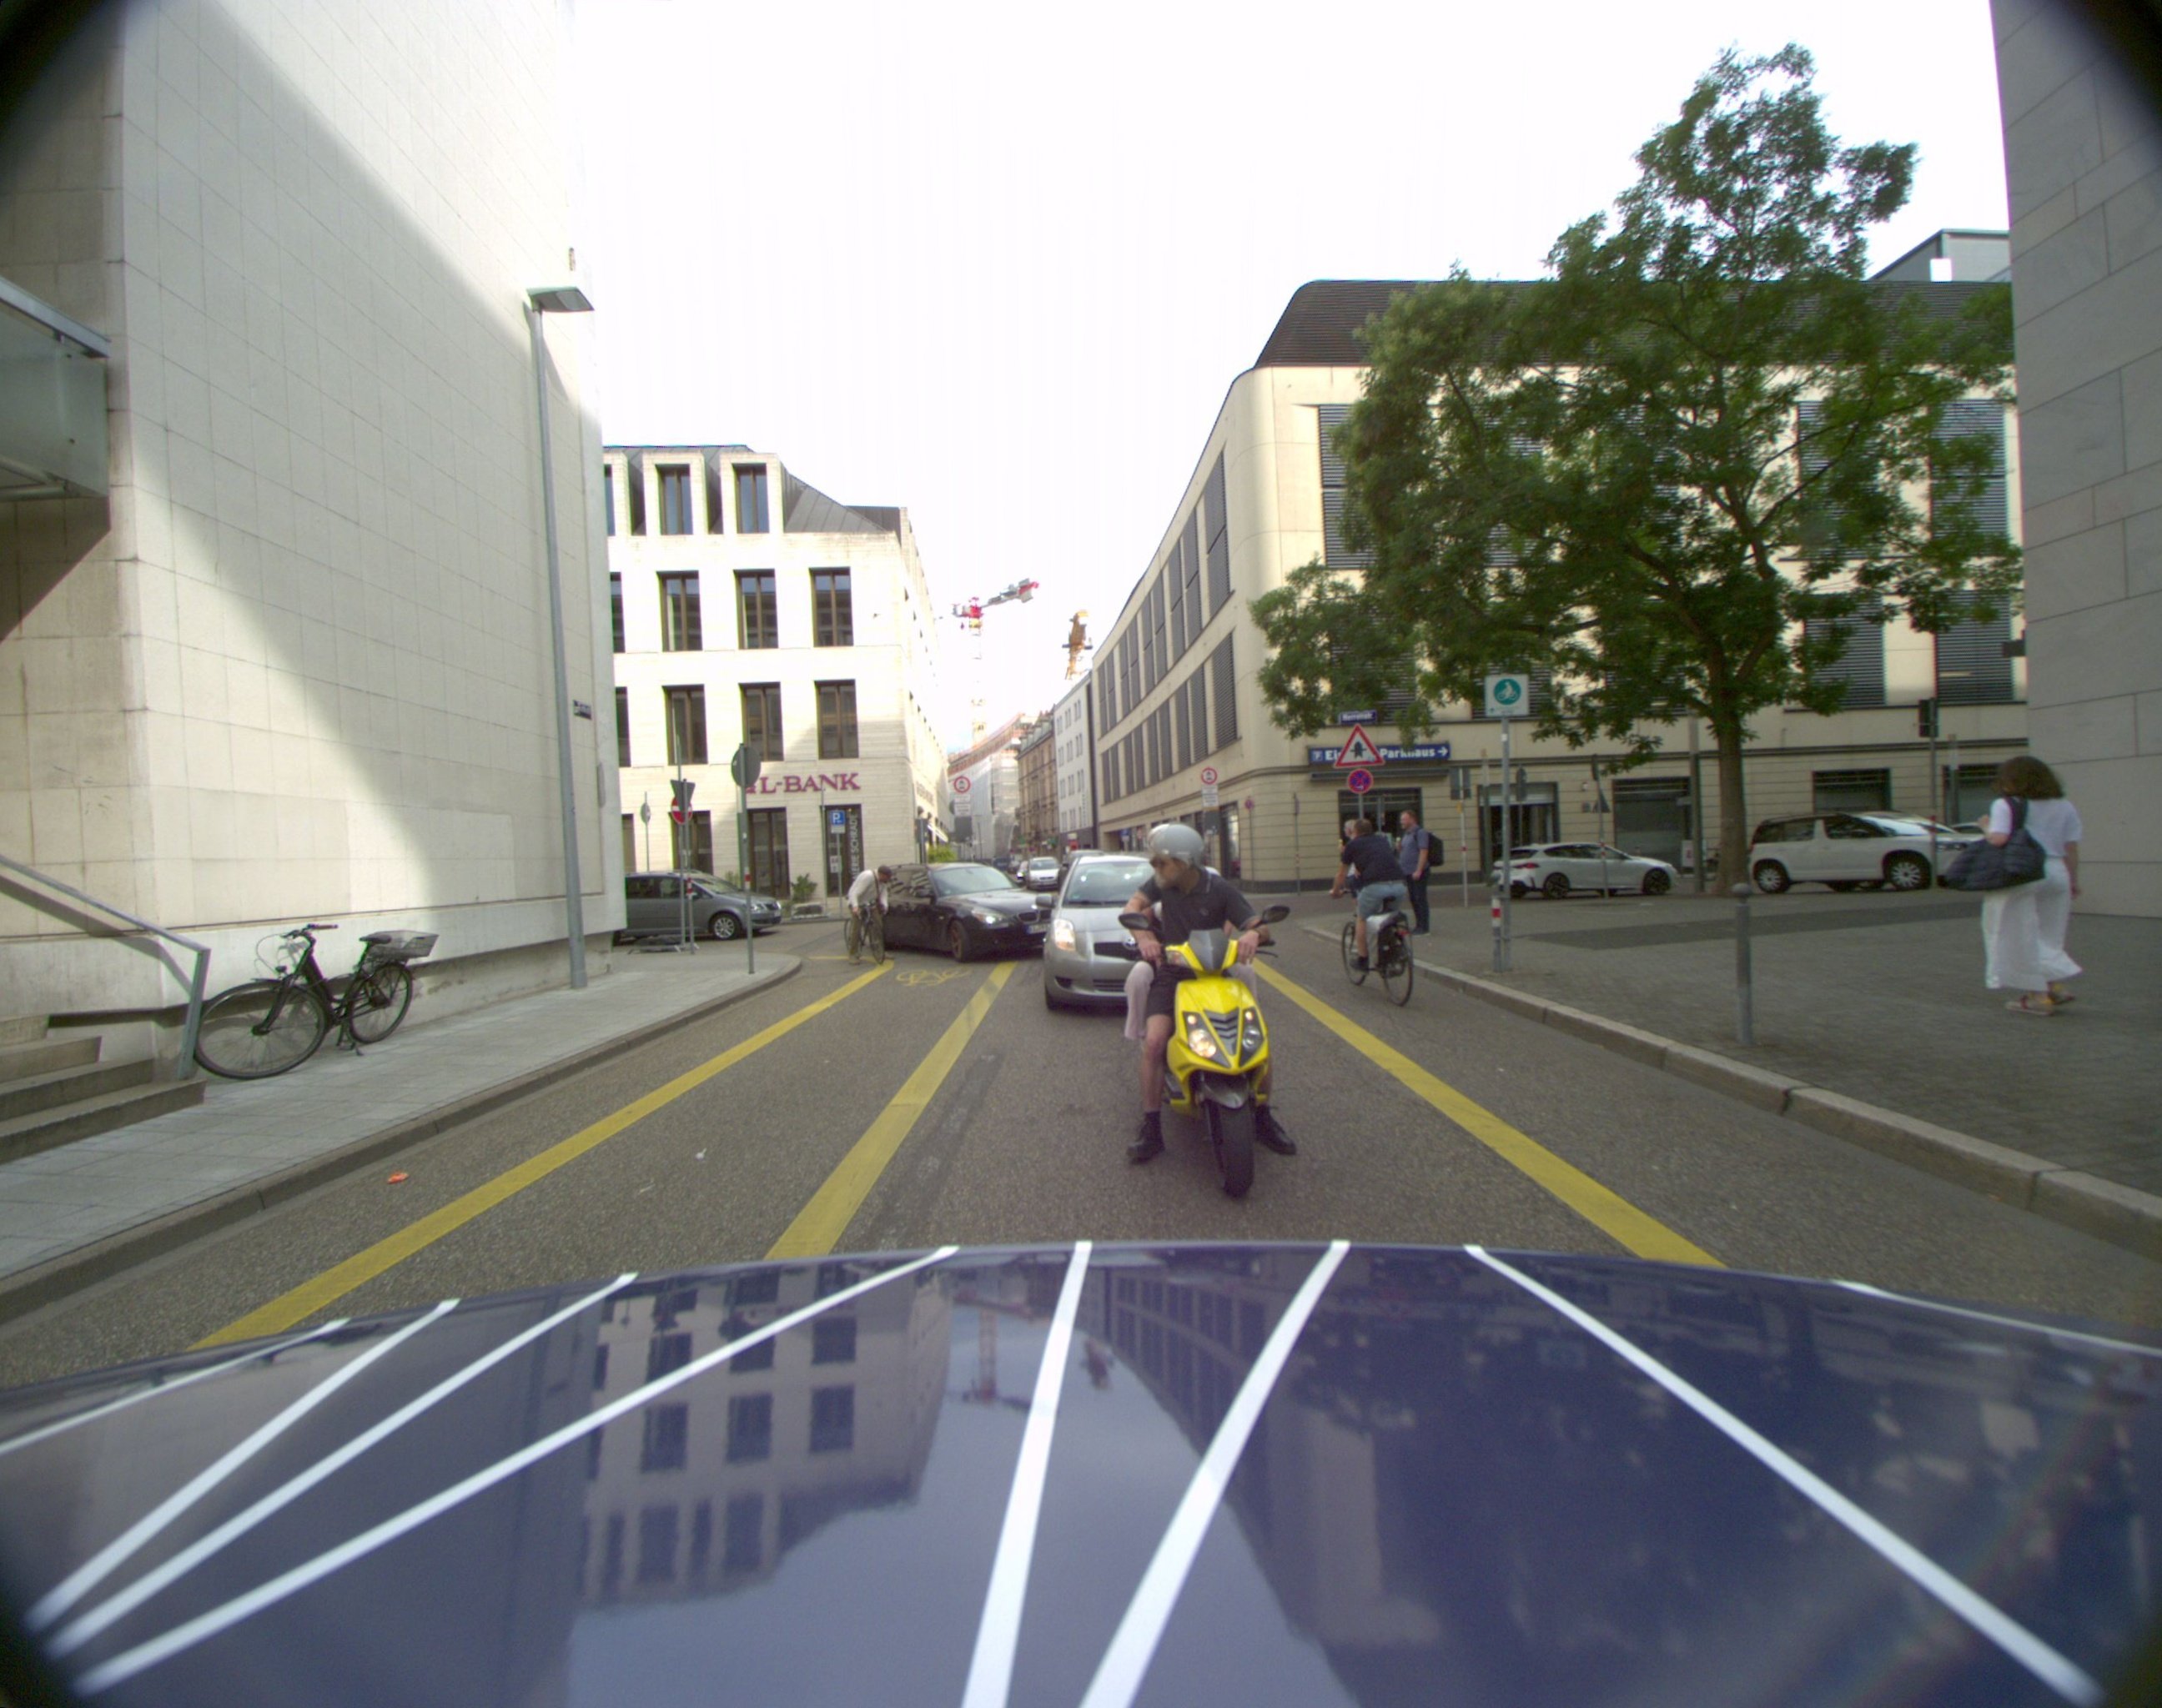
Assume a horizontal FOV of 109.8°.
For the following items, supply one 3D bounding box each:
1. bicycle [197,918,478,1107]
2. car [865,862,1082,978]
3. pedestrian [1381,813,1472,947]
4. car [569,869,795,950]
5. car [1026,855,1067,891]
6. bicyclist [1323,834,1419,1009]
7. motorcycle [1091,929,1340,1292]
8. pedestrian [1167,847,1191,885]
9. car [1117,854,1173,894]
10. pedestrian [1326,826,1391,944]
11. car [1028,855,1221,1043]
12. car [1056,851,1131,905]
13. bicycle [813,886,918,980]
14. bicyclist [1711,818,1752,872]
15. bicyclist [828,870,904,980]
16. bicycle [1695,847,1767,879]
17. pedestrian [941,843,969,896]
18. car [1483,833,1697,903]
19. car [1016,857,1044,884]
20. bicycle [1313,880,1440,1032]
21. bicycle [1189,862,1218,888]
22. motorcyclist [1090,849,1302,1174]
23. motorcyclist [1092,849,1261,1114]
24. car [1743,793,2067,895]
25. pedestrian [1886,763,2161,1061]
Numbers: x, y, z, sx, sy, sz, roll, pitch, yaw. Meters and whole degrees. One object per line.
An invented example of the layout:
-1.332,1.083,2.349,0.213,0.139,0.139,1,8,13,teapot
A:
-6.026,1.205,6.337,0.590,1.160,1.814,-2,1,-4,bicycle
-1.859,0.934,12.194,1.720,1.482,3.755,-3,1,-38,car
4.964,0.361,10.961,0.745,1.804,0.756,-6,1,-11,pedestrian
-9.114,1.238,17.646,4.193,1.581,1.814,-2,1,-2,car
-1.694,0.857,36.115,1.563,1.547,4.100,-3,1,-7,car
2.872,0.627,7.605,0.644,1.644,0.940,0,1,5,bicyclist
0.527,1.079,3.935,0.929,1.158,2.127,-1,0,1,motorcycle
4.786,0.587,37.106,0.891,1.755,1.061,-6,1,13,pedestrian
2.715,0.816,33.125,1.563,1.547,4.100,-3,1,-7,car
4.314,0.473,11.840,0.644,1.755,0.653,-3,1,-11,pedestrian
0.430,0.816,8.343,1.562,1.482,3.784,-3,1,2,car
0.318,0.699,24.366,1.710,1.482,4.100,-3,1,-8,car
-3.473,1.161,12.009,0.872,1.188,2.857,-3,1,-30,bicycle
20.465,-0.278,23.906,0.643,1.609,0.623,-5,0,-1,bicyclist
-3.369,1.075,11.879,0.894,1.585,0.875,-3,1,-30,bicyclist
20.463,0.300,23.935,1.724,0.829,0.602,-5,-2,-2,bicycle
-4.499,0.533,27.114,0.774,1.820,0.860,-3,1,-20,pedestrian
13.140,0.343,19.790,4.364,1.572,1.814,-2,1,-2,car
-3.234,1.011,47.369,1.589,1.477,3.997,-2,1,-6,car
2.879,0.922,7.616,0.648,1.233,1.953,0,1,5,bicycle
5.352,0.887,33.281,0.692,1.038,2.543,-2,1,-4,bicycle
0.521,0.705,3.916,0.924,1.445,1.065,-1,0,1,motorcyclist
0.530,0.702,4.527,0.903,1.445,0.742,-1,0,1,motorcyclist
15.909,-0.072,15.055,1.899,1.682,3.964,-2,-3,-3,car
6.214,0.332,4.935,0.879,1.699,0.910,-6,1,0,pedestrian
